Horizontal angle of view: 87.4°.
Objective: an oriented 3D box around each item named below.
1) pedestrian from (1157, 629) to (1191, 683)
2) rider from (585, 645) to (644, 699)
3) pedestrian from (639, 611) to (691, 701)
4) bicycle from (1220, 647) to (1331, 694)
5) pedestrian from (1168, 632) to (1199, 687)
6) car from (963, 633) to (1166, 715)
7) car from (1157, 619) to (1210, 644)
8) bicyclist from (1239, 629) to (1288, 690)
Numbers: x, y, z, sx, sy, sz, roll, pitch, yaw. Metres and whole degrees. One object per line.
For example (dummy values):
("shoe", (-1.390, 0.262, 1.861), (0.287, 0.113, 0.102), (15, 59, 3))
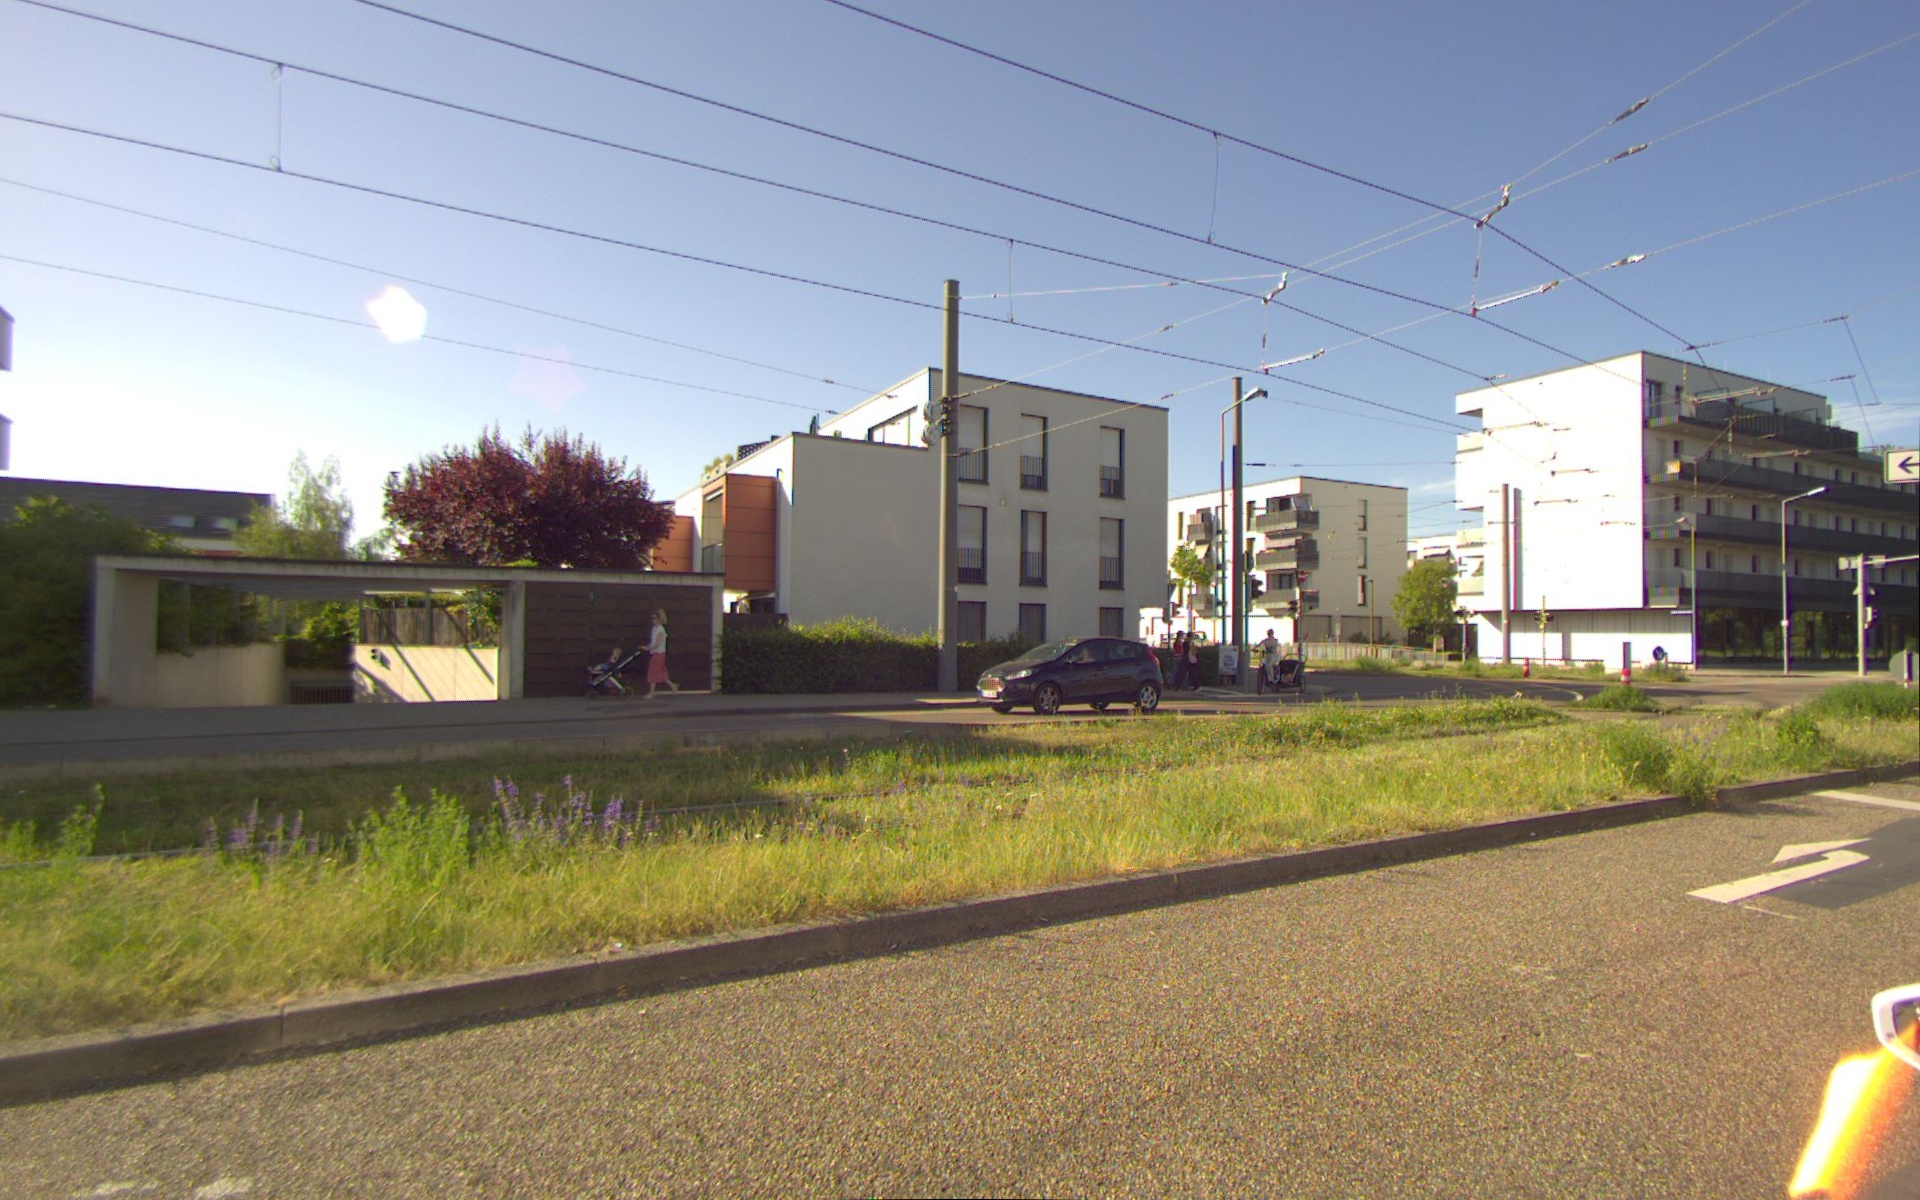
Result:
("pedestrian", (6.022, 1.560, 28.297), (0.733, 1.483, 0.555), (1, 0, -28))
("rider", (-6.904, 1.430, 20.085), (1.031, 1.016, 0.775), (1, 0, -25))
("pedestrian", (-6.028, 1.119, 20.483), (0.897, 1.771, 0.813), (1, 0, -24))
("bicycle", (9.000, 1.966, 28.542), (3.658, 1.190, 0.989), (1, 1, -36))
("pedestrian", (6.185, 1.626, 27.767), (0.605, 1.483, 0.554), (1, 0, -33))
("car", (2.059, 1.394, 19.599), (3.698, 1.449, 1.695), (1, -4, -32))
("car", (17.812, 2.514, 80.111), (1.977, 1.862, 3.967), (1, 0, -31))
("bicyclist", (8.528, 1.650, 28.214), (0.904, 1.651, 0.966), (1, 0, -35))
